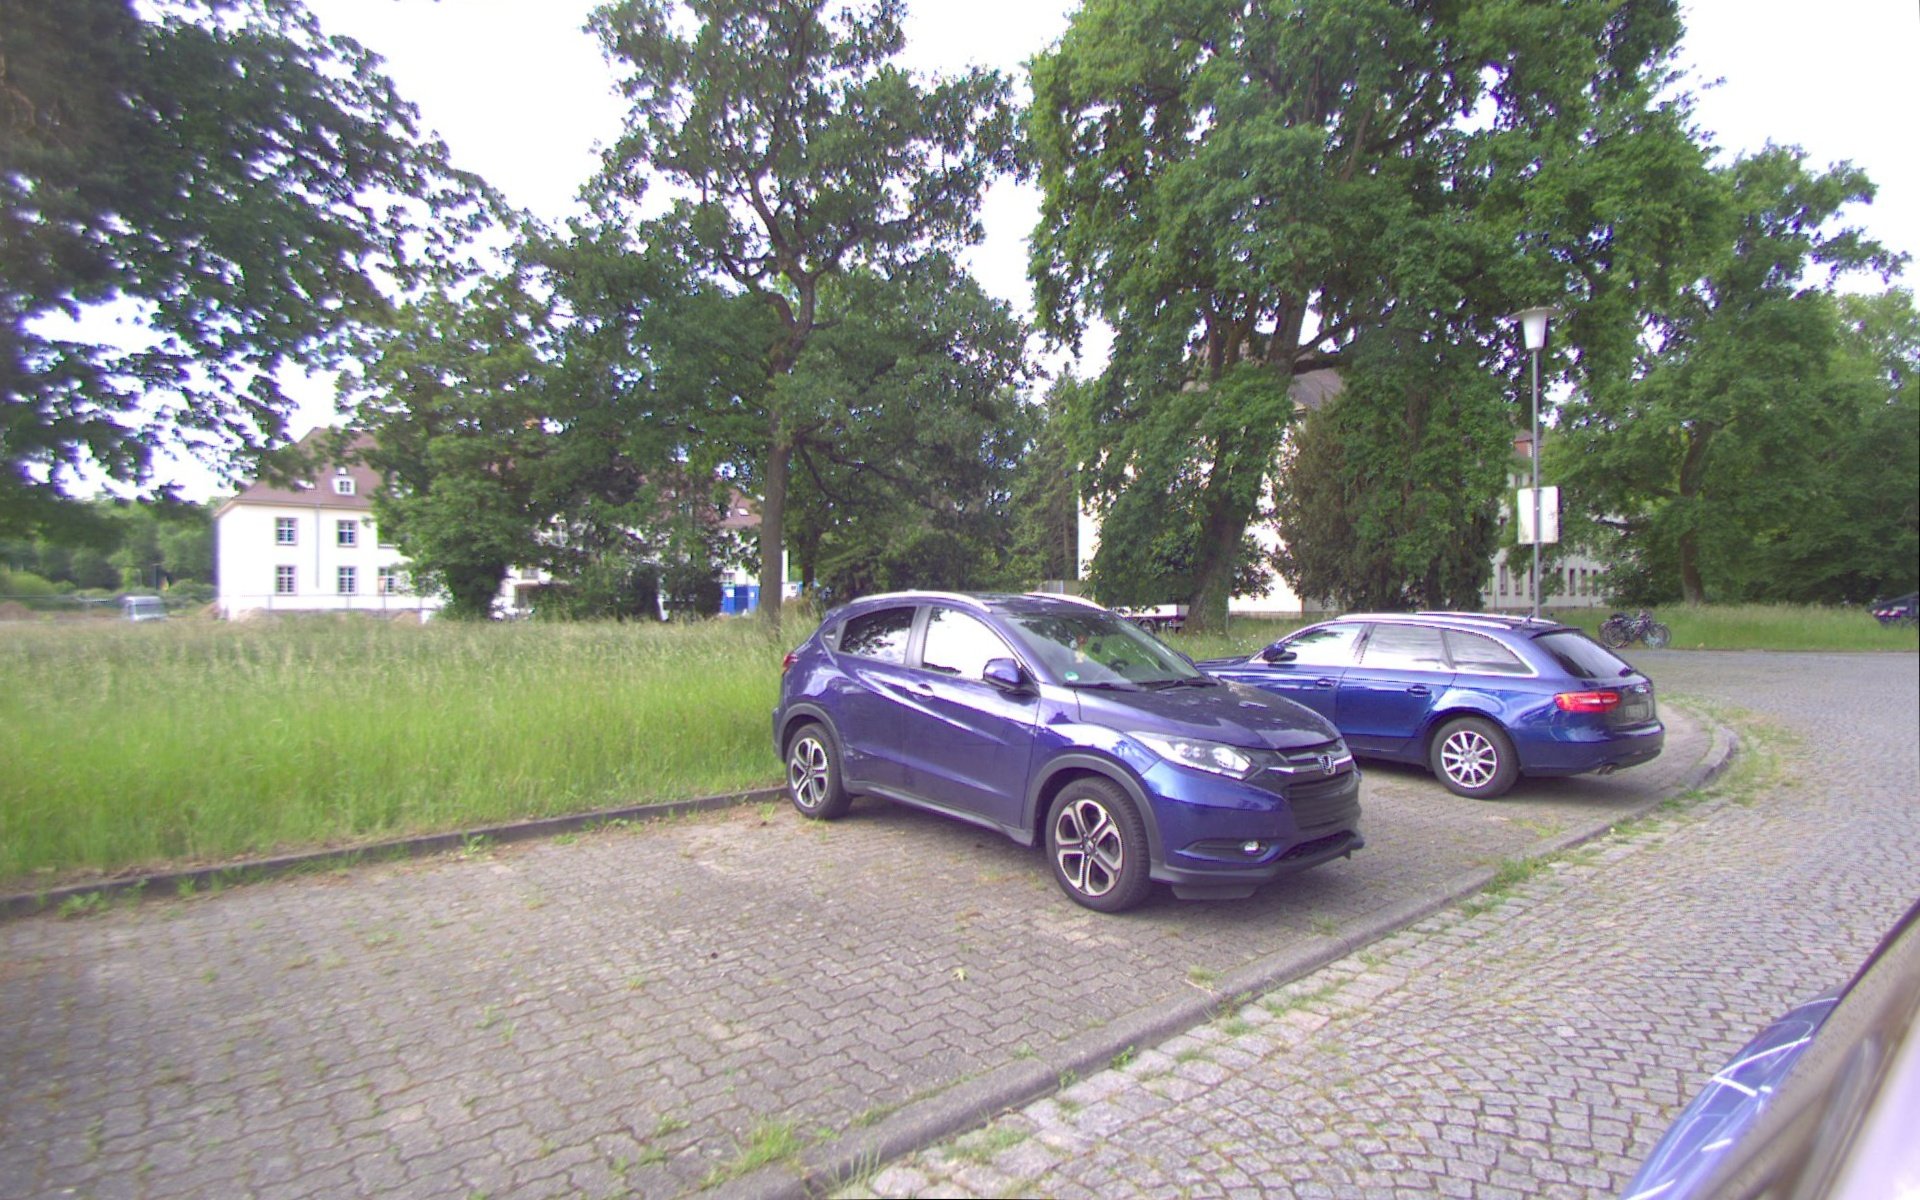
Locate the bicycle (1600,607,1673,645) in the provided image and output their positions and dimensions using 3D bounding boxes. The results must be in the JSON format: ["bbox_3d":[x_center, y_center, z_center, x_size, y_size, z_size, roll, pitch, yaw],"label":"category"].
[{"bbox_3d":[22.384,0.856,33.515,1.918,1.185,0.484,-2,-2,25],"label":"bicycle"}]

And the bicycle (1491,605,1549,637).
[{"bbox_3d":[21.162,0.809,38.306,1.837,1.185,0.485,-1,-1,21],"label":"bicycle"}]

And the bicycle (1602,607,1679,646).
[{"bbox_3d":[21.540,0.854,32.084,1.917,1.185,0.484,-2,-2,22],"label":"bicycle"}]

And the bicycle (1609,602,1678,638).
[{"bbox_3d":[24.145,0.712,35.785,1.921,1.185,0.483,-2,-2,28],"label":"bicycle"}]

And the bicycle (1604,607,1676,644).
[{"bbox_3d":[22.797,0.853,33.960,1.918,1.185,0.484,-2,-2,25],"label":"bicycle"}]

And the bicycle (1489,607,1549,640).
[{"bbox_3d":[20.042,0.843,36.345,1.842,1.185,0.483,-1,-1,29],"label":"bicycle"}]

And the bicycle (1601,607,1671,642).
[{"bbox_3d":[23.651,0.857,35.436,1.921,1.185,0.483,-2,-2,28],"label":"bicycle"}]

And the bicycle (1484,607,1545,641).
[{"bbox_3d":[19.599,0.844,35.786,1.839,1.185,0.484,-1,-1,24],"label":"bicycle"}]

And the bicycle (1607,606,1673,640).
[{"bbox_3d":[24.778,0.854,36.921,1.925,1.185,0.531,-3,-2,34],"label":"bicycle"}]

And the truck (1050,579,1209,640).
[{"bbox_3d":[7.066,0.386,43.096,1.958,2.397,7.077,1,-1,-40],"label":"truck"}]

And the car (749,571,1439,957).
[{"bbox_3d":[0.541,0.678,6.526,1.854,1.643,4.251,0,0,-42],"label":"car"}]

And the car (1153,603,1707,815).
[{"bbox_3d":[4.111,0.779,9.515,1.891,1.457,4.367,0,0,-38],"label":"car"}]

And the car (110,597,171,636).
[{"bbox_3d":[-59.685,1.211,73.660,5.648,2.675,2.247,-2,-2,38],"label":"car"}]

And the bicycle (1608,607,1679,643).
[{"bbox_3d":[23.309,0.850,34.540,1.921,1.185,0.483,-2,-2,28],"label":"bicycle"}]

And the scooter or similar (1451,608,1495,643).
[{"bbox_3d":[18.031,0.907,35.589,0.406,1.185,1.306,0,-2,-41],"label":"scooter or similar"}]

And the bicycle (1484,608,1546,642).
[{"bbox_3d":[19.310,0.868,35.263,1.839,1.185,0.484,-1,-1,24],"label":"bicycle"}]

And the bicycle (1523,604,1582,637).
[{"bbox_3d":[22.499,0.777,38.444,1.851,1.185,0.481,1,0,40],"label":"bicycle"}]

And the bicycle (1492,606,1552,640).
[{"bbox_3d":[20.515,0.841,36.953,1.837,1.185,0.485,-1,-1,21],"label":"bicycle"}]

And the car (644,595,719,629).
[{"bbox_3d":[-20.041,0.834,72.959,4.853,2.333,1.921,0,-1,-41],"label":"car"}]

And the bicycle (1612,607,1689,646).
[{"bbox_3d":[22.112,0.844,32.438,1.917,1.185,0.484,-2,-2,22],"label":"bicycle"}]
